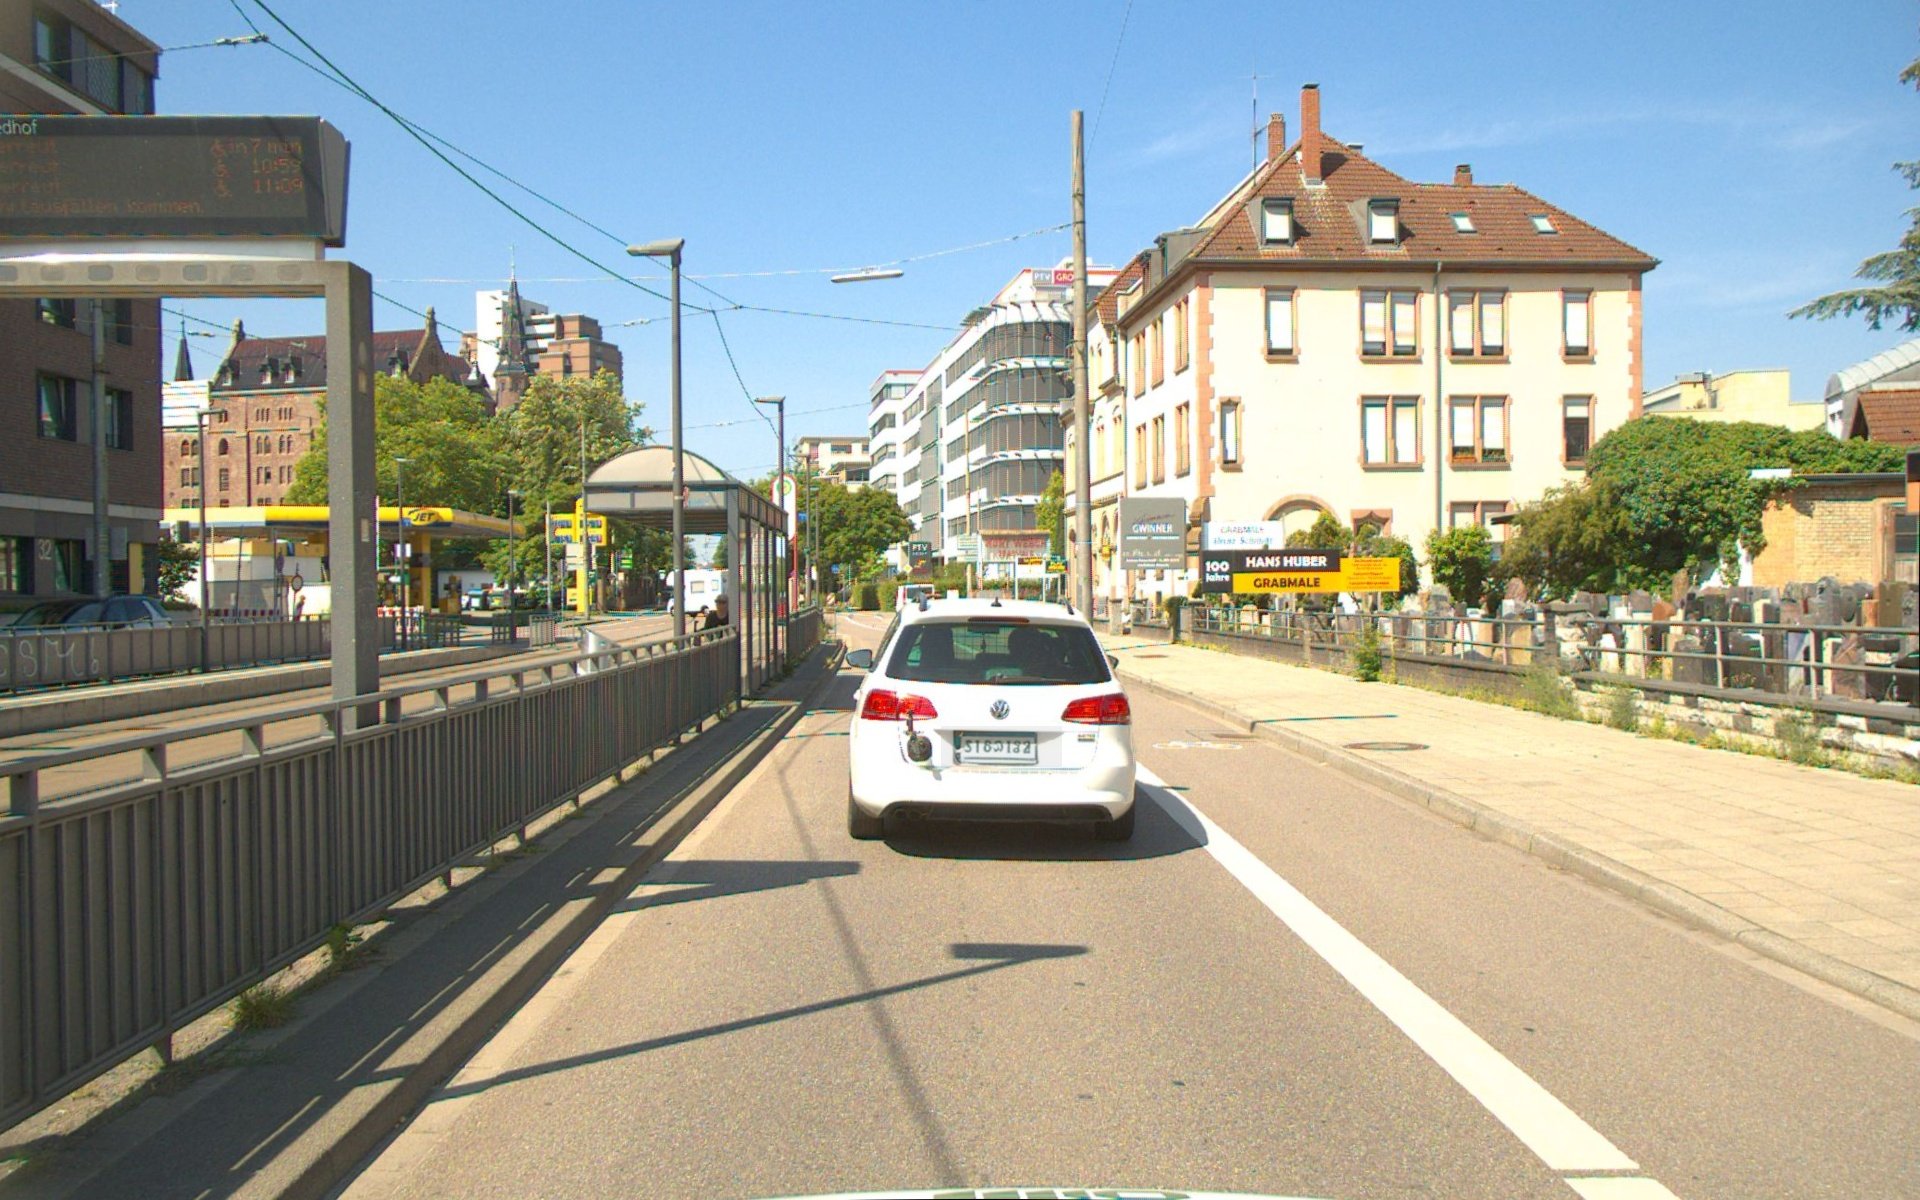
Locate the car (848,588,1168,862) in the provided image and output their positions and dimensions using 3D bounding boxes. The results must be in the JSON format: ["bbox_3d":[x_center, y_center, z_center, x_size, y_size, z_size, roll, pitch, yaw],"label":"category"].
[{"bbox_3d":[0.185,0.670,11.208,1.718,1.467,4.411,1,0,-2],"label":"car"}]

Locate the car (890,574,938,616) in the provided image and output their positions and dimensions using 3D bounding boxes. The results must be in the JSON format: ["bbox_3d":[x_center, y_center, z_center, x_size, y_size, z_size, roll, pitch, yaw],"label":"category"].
[{"bbox_3d":[-2.511,-0.246,89.295,1.940,2.090,5.181,-3,0,-8],"label":"car"}]

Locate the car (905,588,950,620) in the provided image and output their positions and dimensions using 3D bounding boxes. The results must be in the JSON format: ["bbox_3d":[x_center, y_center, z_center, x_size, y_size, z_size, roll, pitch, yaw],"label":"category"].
[{"bbox_3d":[-1.675,0.209,82.972,1.690,1.468,4.304,-3,0,-8],"label":"car"}]

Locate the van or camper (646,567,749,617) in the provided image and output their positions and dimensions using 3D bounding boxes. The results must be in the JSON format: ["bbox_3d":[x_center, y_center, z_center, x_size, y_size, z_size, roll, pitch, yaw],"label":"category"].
[{"bbox_3d":[-16.969,-0.532,106.816,6.577,3.019,2.607,2,-1,35],"label":"van or camper"}]

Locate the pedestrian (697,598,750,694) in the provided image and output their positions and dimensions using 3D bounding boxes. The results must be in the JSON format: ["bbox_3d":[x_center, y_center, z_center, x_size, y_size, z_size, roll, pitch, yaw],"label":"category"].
[{"bbox_3d":[-3.243,0.616,22.683,0.617,1.277,0.709,-1,0,-2],"label":"pedestrian"}]

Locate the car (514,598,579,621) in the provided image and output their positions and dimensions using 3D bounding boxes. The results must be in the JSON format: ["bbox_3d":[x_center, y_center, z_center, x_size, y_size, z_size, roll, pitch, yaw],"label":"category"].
[{"bbox_3d":[-30.831,0.712,123.347,1.910,1.653,4.562,-1,0,35],"label":"car"}]

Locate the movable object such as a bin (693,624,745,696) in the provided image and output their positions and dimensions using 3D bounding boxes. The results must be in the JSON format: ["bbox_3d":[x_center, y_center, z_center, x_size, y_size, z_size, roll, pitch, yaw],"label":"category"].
[{"bbox_3d":[-3.213,0.794,22.088,0.617,0.916,0.489,-1,0,-2],"label":"movable object such as a bin"}]

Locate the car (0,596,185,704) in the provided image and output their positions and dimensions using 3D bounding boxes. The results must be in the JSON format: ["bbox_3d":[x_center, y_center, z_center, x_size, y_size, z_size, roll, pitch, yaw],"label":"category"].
[{"bbox_3d":[-15.905,0.843,29.984,1.764,1.759,4.188,1,0,-1],"label":"car"}]
